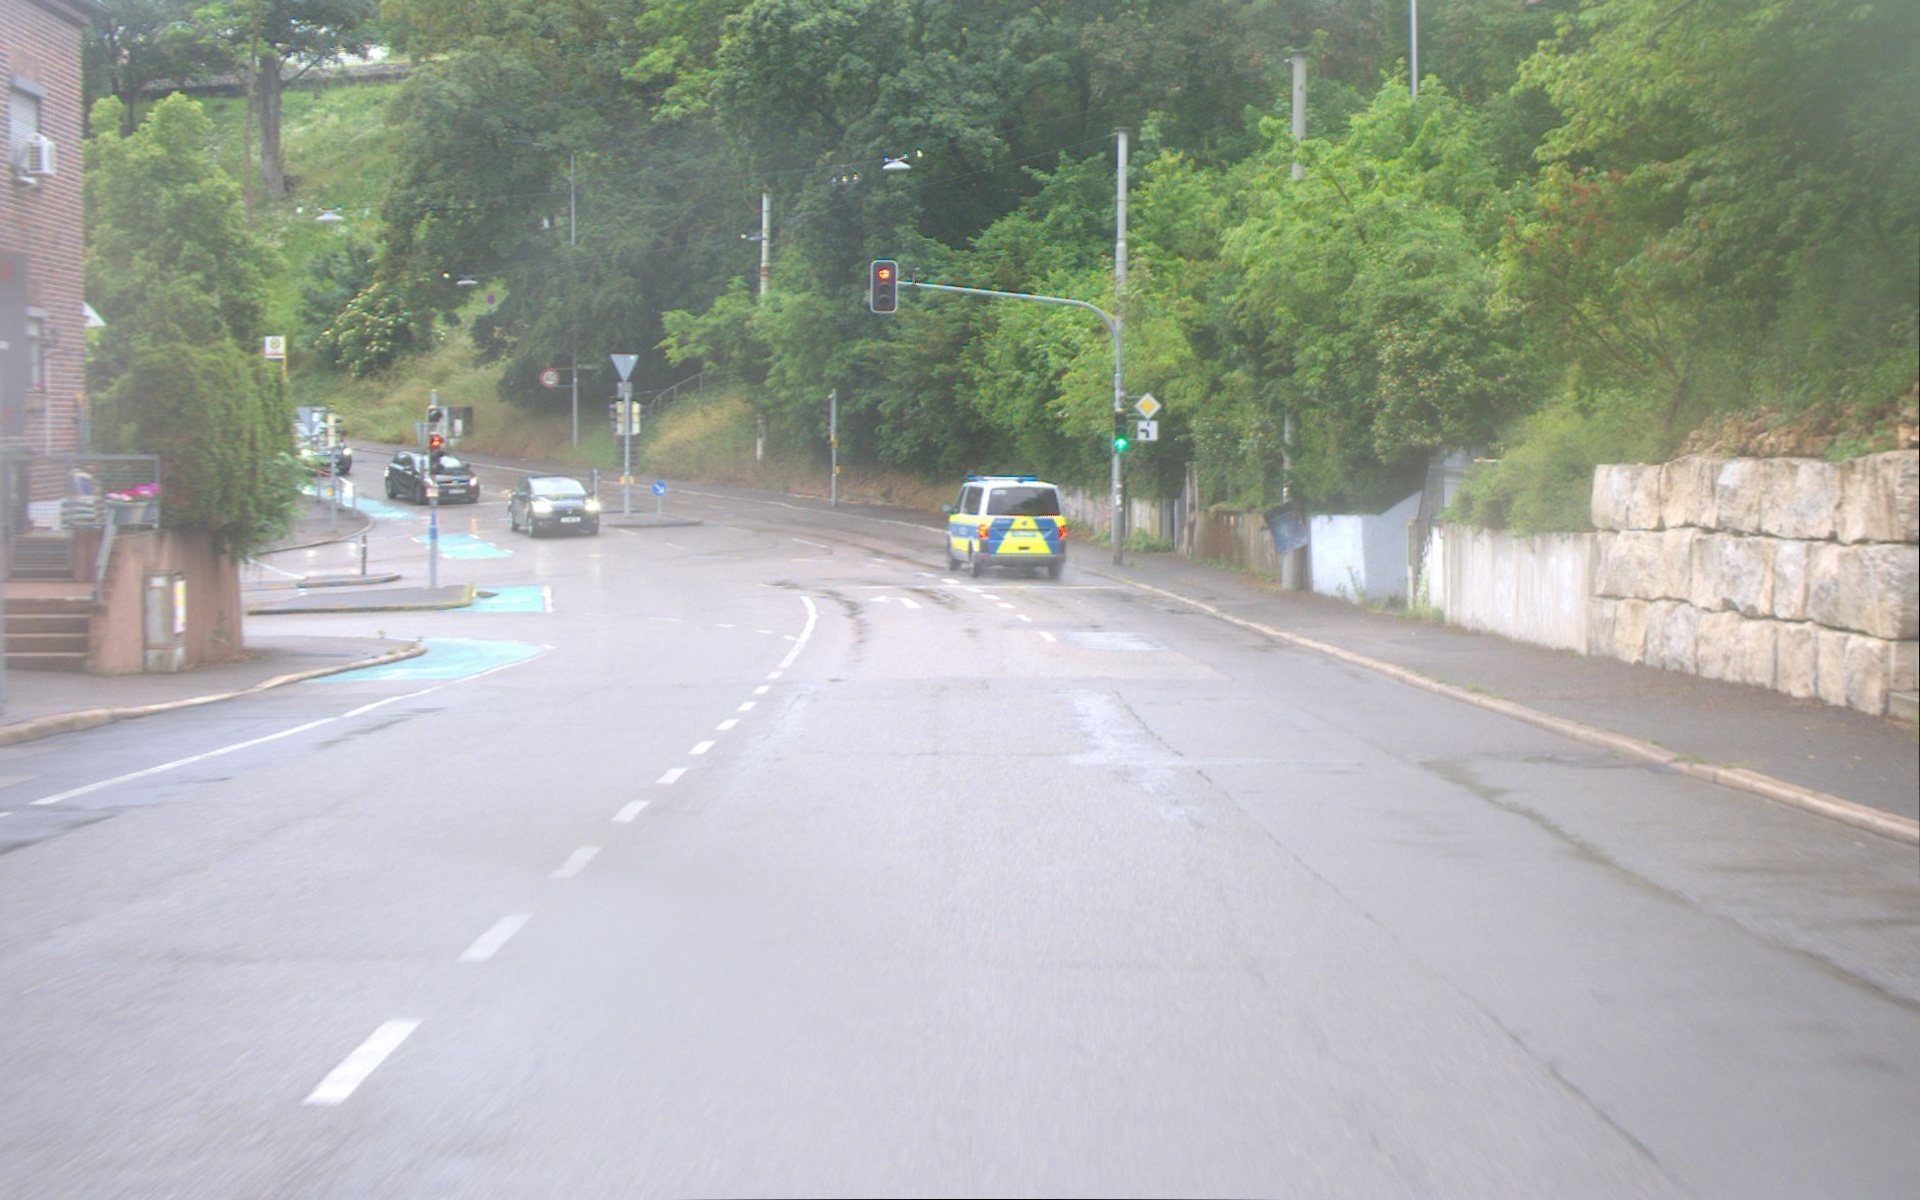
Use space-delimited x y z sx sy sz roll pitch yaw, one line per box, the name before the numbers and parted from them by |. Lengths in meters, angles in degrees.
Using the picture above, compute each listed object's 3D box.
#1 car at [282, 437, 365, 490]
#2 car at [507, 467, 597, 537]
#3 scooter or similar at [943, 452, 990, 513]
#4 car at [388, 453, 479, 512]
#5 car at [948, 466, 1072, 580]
car | -20.487 -4.407 110.563 1.741 1.544 4.002 -5 5 -23
car | -10.500 -2.537 88.277 1.741 1.544 4.002 -4 4 -14
scooter or similar | 0.167 -3.048 88.794 0.616 1.416 2.160 -3 6 -15
car | -15.274 -3.413 99.597 1.741 1.544 4.002 -5 4 -20
car | 0.988 -1.609 70.445 2.308 1.932 4.326 -3 5 -1
